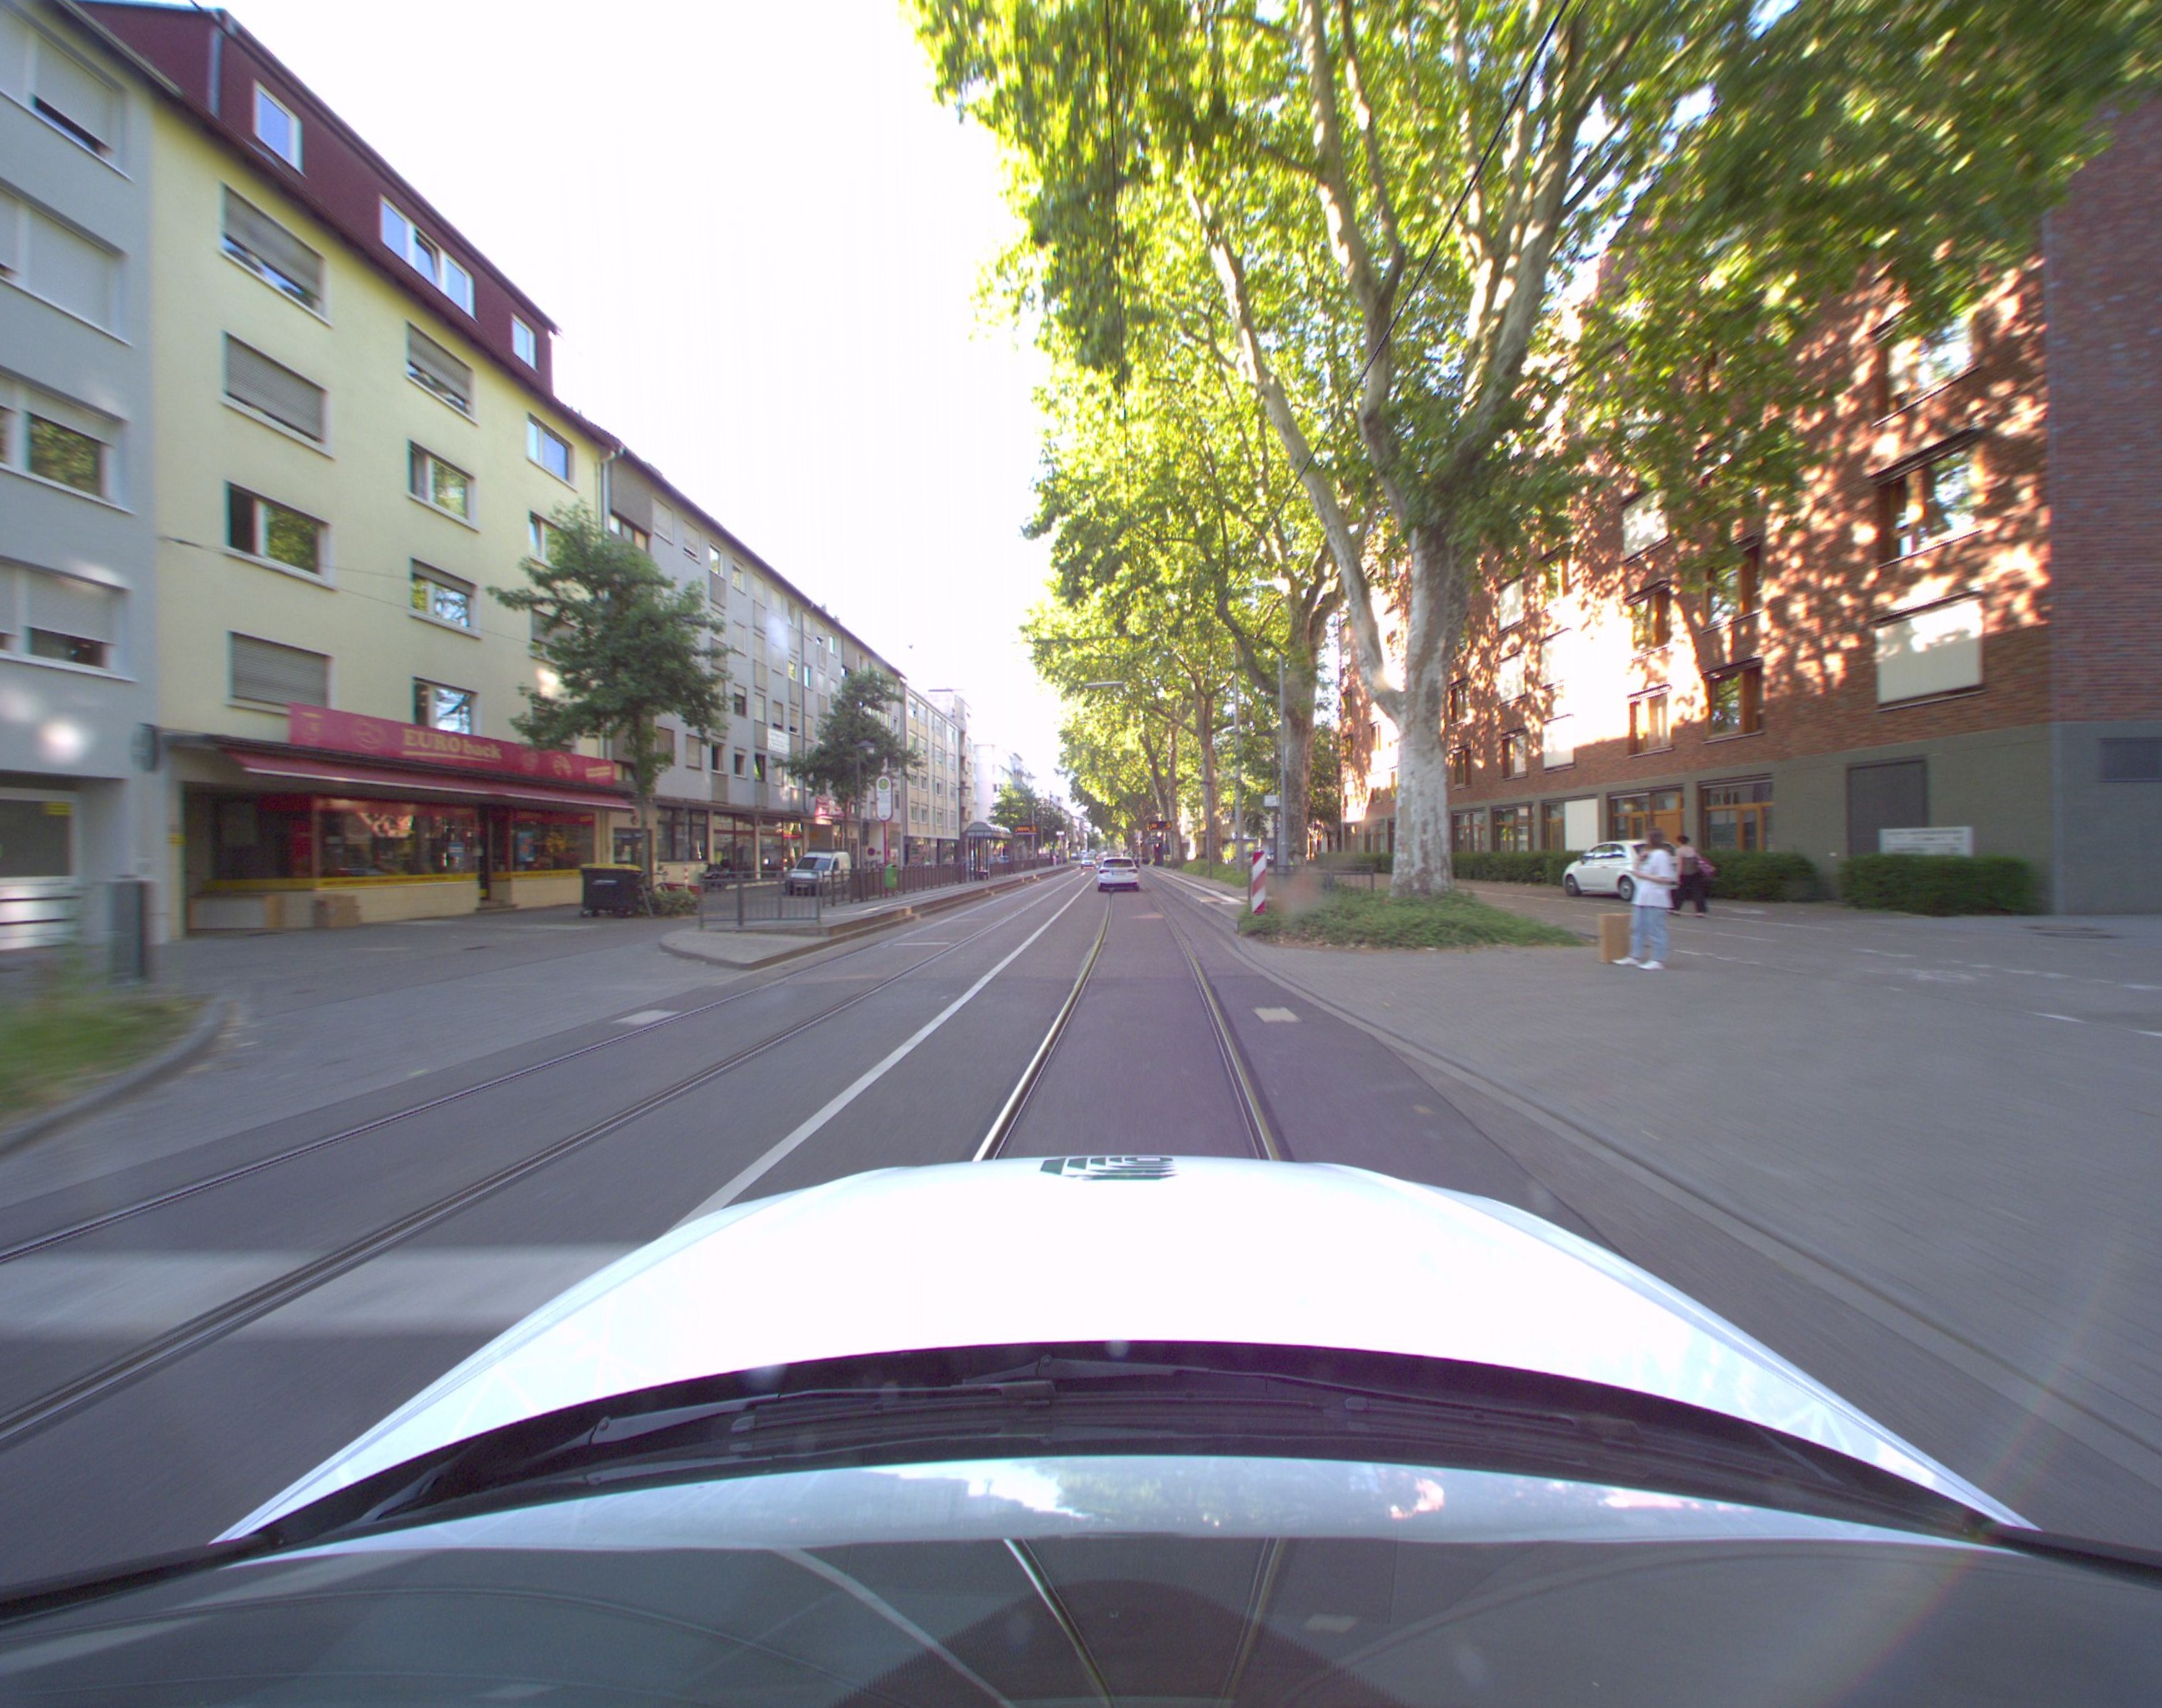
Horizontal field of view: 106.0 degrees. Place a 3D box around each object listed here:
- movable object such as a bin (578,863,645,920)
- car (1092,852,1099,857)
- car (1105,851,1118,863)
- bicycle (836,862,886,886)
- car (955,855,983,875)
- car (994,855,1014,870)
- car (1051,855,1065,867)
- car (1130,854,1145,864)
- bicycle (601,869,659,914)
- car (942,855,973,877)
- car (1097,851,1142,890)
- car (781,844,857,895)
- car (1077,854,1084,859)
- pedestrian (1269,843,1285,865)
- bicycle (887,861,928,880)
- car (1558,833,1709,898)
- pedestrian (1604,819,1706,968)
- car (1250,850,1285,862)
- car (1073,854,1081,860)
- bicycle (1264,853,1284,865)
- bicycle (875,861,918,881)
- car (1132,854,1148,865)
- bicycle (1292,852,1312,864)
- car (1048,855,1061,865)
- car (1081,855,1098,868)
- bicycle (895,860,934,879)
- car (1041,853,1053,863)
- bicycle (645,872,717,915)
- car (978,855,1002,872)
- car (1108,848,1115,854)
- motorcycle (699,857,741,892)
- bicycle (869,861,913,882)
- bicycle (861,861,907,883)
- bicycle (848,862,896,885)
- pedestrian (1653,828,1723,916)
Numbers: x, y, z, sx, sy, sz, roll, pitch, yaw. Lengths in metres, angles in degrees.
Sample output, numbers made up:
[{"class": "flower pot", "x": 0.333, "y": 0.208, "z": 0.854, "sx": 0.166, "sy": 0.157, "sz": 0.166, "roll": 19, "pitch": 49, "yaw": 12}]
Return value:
[{"class": "movable object such as a bin", "x": -11.769, "y": 0.919, "z": 20.446, "sx": 1.167, "sy": 1.348, "sz": 0.782, "roll": 2, "pitch": 0, "yaw": -2}, {"class": "car", "x": 4.292, "y": 0.107, "z": 238.178, "sx": 1.781, "sy": 1.513, "sz": 4.002, "roll": -1, "pitch": 0, "yaw": 2}, {"class": "car", "x": 4.142, "y": 0.359, "z": 110.094, "sx": 1.781, "sy": 1.513, "sz": 4.002, "roll": -1, "pitch": 0, "yaw": 2}, {"class": "bicycle", "x": -10.710, "y": 0.954, "z": 39.651, "sx": 2.243, "sy": 1.074, "sz": 0.637, "roll": 2, "pitch": 0, "yaw": 3}, {"class": "car", "x": -9.172, "y": 0.881, "z": 67.140, "sx": 1.587, "sy": 1.548, "sz": 4.002, "roll": 1, "pitch": 0, "yaw": 2}, {"class": "car", "x": -8.534, "y": 0.917, "z": 90.654, "sx": 1.671, "sy": 1.548, "sz": 4.002, "roll": 1, "pitch": 0, "yaw": 2}, {"class": "car", "x": -3.134, "y": 0.921, "z": 112.808, "sx": 1.671, "sy": 1.548, "sz": 4.002, "roll": 1, "pitch": 0, "yaw": 2}, {"class": "car", "x": 8.288, "y": 0.738, "z": 119.410, "sx": 1.986, "sy": 1.453, "sz": 4.002, "roll": -1, "pitch": 0, "yaw": 2}, {"class": "bicycle", "x": -12.075, "y": 0.981, "z": 21.858, "sx": 0.497, "sy": 1.107, "sz": 1.800, "roll": 2, "pitch": 0, "yaw": 0}, {"class": "car", "x": -9.359, "y": 0.875, "z": 62.076, "sx": 1.587, "sy": 1.548, "sz": 4.002, "roll": 1, "pitch": 0, "yaw": 2}, {"class": "car", "x": 1.615, "y": 0.643, "z": 34.353, "sx": 1.781, "sy": 1.513, "sz": 4.002, "roll": -1, "pitch": 0, "yaw": 2}, {"class": "car", "x": -10.797, "y": 0.595, "z": 33.802, "sx": 1.681, "sy": 1.940, "sz": 4.002, "roll": -1, "pitch": 0, "yaw": 2}, {"class": "car", "x": -0.205, "y": 0.693, "z": 243.115, "sx": 1.781, "sy": 1.513, "sz": 4.002, "roll": -1, "pitch": 0, "yaw": 2}, {"class": "pedestrian", "x": 14.530, "y": -0.019, "z": 60.413, "sx": 0.968, "sy": 1.623, "sz": 0.888, "roll": -1, "pitch": 0, "yaw": 2}, {"class": "bicycle", "x": -10.348, "y": 0.970, "z": 48.572, "sx": 2.243, "sy": 1.074, "sz": 0.637, "roll": 2, "pitch": 0, "yaw": 3}, {"class": "car", "x": 14.024, "y": 0.261, "z": 20.902, "sx": 1.595, "sy": 1.495, "sz": 3.418, "roll": -1, "pitch": 0, "yaw": 1}, {"class": "pedestrian", "x": 6.730, "y": 0.442, "z": 9.577, "sx": 0.650, "sy": 1.669, "sz": 0.738, "roll": -1, "pitch": 0, "yaw": 2}, {"class": "car", "x": 22.889, "y": 0.290, "z": 100.223, "sx": 3.969, "sy": 1.372, "sz": 1.869, "roll": -1, "pitch": 0, "yaw": 4}, {"class": "car", "x": -1.081, "y": 0.828, "z": 208.591, "sx": 1.781, "sy": 1.513, "sz": 4.002, "roll": -1, "pitch": 0, "yaw": 2}, {"class": "bicycle", "x": 17.018, "y": 0.405, "z": 71.793, "sx": 1.552, "sy": 1.037, "sz": 0.507, "roll": -1, "pitch": 0, "yaw": 23}, {"class": "bicycle", "x": -10.574, "y": 0.956, "z": 46.746, "sx": 2.243, "sy": 1.074, "sz": 0.637, "roll": 2, "pitch": 0, "yaw": 3}, {"class": "car", "x": 8.251, "y": 0.696, "z": 114.319, "sx": 1.986, "sy": 1.453, "sz": 4.002, "roll": -1, "pitch": 0, "yaw": 2}, {"class": "bicycle", "x": 19.272, "y": 0.321, "z": 71.018, "sx": 1.552, "sy": 1.037, "sz": 0.482, "roll": -1, "pitch": 0, "yaw": 23}, {"class": "car", "x": -4.027, "y": 0.905, "z": 124.594, "sx": 1.671, "sy": 1.548, "sz": 4.002, "roll": 1, "pitch": 0, "yaw": 2}, {"class": "car", "x": 0.983, "y": 0.793, "z": 90.742, "sx": 1.687, "sy": 1.419, "sz": 4.002, "roll": -1, "pitch": 0, "yaw": 2}, {"class": "bicycle", "x": -10.285, "y": 0.971, "z": 50.338, "sx": 2.243, "sy": 1.074, "sz": 0.637, "roll": 2, "pitch": 0, "yaw": 3}, {"class": "car", "x": -5.536, "y": 0.650, "z": 132.405, "sx": 1.671, "sy": 1.548, "sz": 4.002, "roll": 1, "pitch": 0, "yaw": 2}, {"class": "bicycle", "x": -11.030, "y": 1.081, "z": 22.495, "sx": 1.528, "sy": 1.075, "sz": 0.886, "roll": 2, "pitch": 0, "yaw": 1}, {"class": "car", "x": -8.731, "y": 0.899, "z": 78.491, "sx": 1.671, "sy": 1.548, "sz": 4.002, "roll": 1, "pitch": 0, "yaw": 2}, {"class": "car", "x": 8.802, "y": -0.846, "z": 235.266, "sx": 1.859, "sy": 1.892, "sz": 4.002, "roll": -1, "pitch": 0, "yaw": 2}, {"class": "motorcycle", "x": -14.470, "y": 0.809, "z": 32.716, "sx": 0.596, "sy": 1.311, "sz": 2.223, "roll": -1, "pitch": 0, "yaw": 2}, {"class": "bicycle", "x": -10.498, "y": 0.952, "z": 44.995, "sx": 2.243, "sy": 1.074, "sz": 0.637, "roll": 2, "pitch": 0, "yaw": 3}, {"class": "bicycle", "x": -10.562, "y": 0.951, "z": 43.732, "sx": 2.243, "sy": 1.074, "sz": 0.637, "roll": 2, "pitch": 0, "yaw": 3}, {"class": "bicycle", "x": -10.593, "y": 0.968, "z": 41.297, "sx": 2.243, "sy": 1.074, "sz": 0.637, "roll": 2, "pitch": 0, "yaw": 3}, {"class": "pedestrian", "x": 11.895, "y": 0.338, "z": 15.988, "sx": 0.733, "sy": 1.669, "sz": 0.835, "roll": -1, "pitch": 0, "yaw": 2}]
